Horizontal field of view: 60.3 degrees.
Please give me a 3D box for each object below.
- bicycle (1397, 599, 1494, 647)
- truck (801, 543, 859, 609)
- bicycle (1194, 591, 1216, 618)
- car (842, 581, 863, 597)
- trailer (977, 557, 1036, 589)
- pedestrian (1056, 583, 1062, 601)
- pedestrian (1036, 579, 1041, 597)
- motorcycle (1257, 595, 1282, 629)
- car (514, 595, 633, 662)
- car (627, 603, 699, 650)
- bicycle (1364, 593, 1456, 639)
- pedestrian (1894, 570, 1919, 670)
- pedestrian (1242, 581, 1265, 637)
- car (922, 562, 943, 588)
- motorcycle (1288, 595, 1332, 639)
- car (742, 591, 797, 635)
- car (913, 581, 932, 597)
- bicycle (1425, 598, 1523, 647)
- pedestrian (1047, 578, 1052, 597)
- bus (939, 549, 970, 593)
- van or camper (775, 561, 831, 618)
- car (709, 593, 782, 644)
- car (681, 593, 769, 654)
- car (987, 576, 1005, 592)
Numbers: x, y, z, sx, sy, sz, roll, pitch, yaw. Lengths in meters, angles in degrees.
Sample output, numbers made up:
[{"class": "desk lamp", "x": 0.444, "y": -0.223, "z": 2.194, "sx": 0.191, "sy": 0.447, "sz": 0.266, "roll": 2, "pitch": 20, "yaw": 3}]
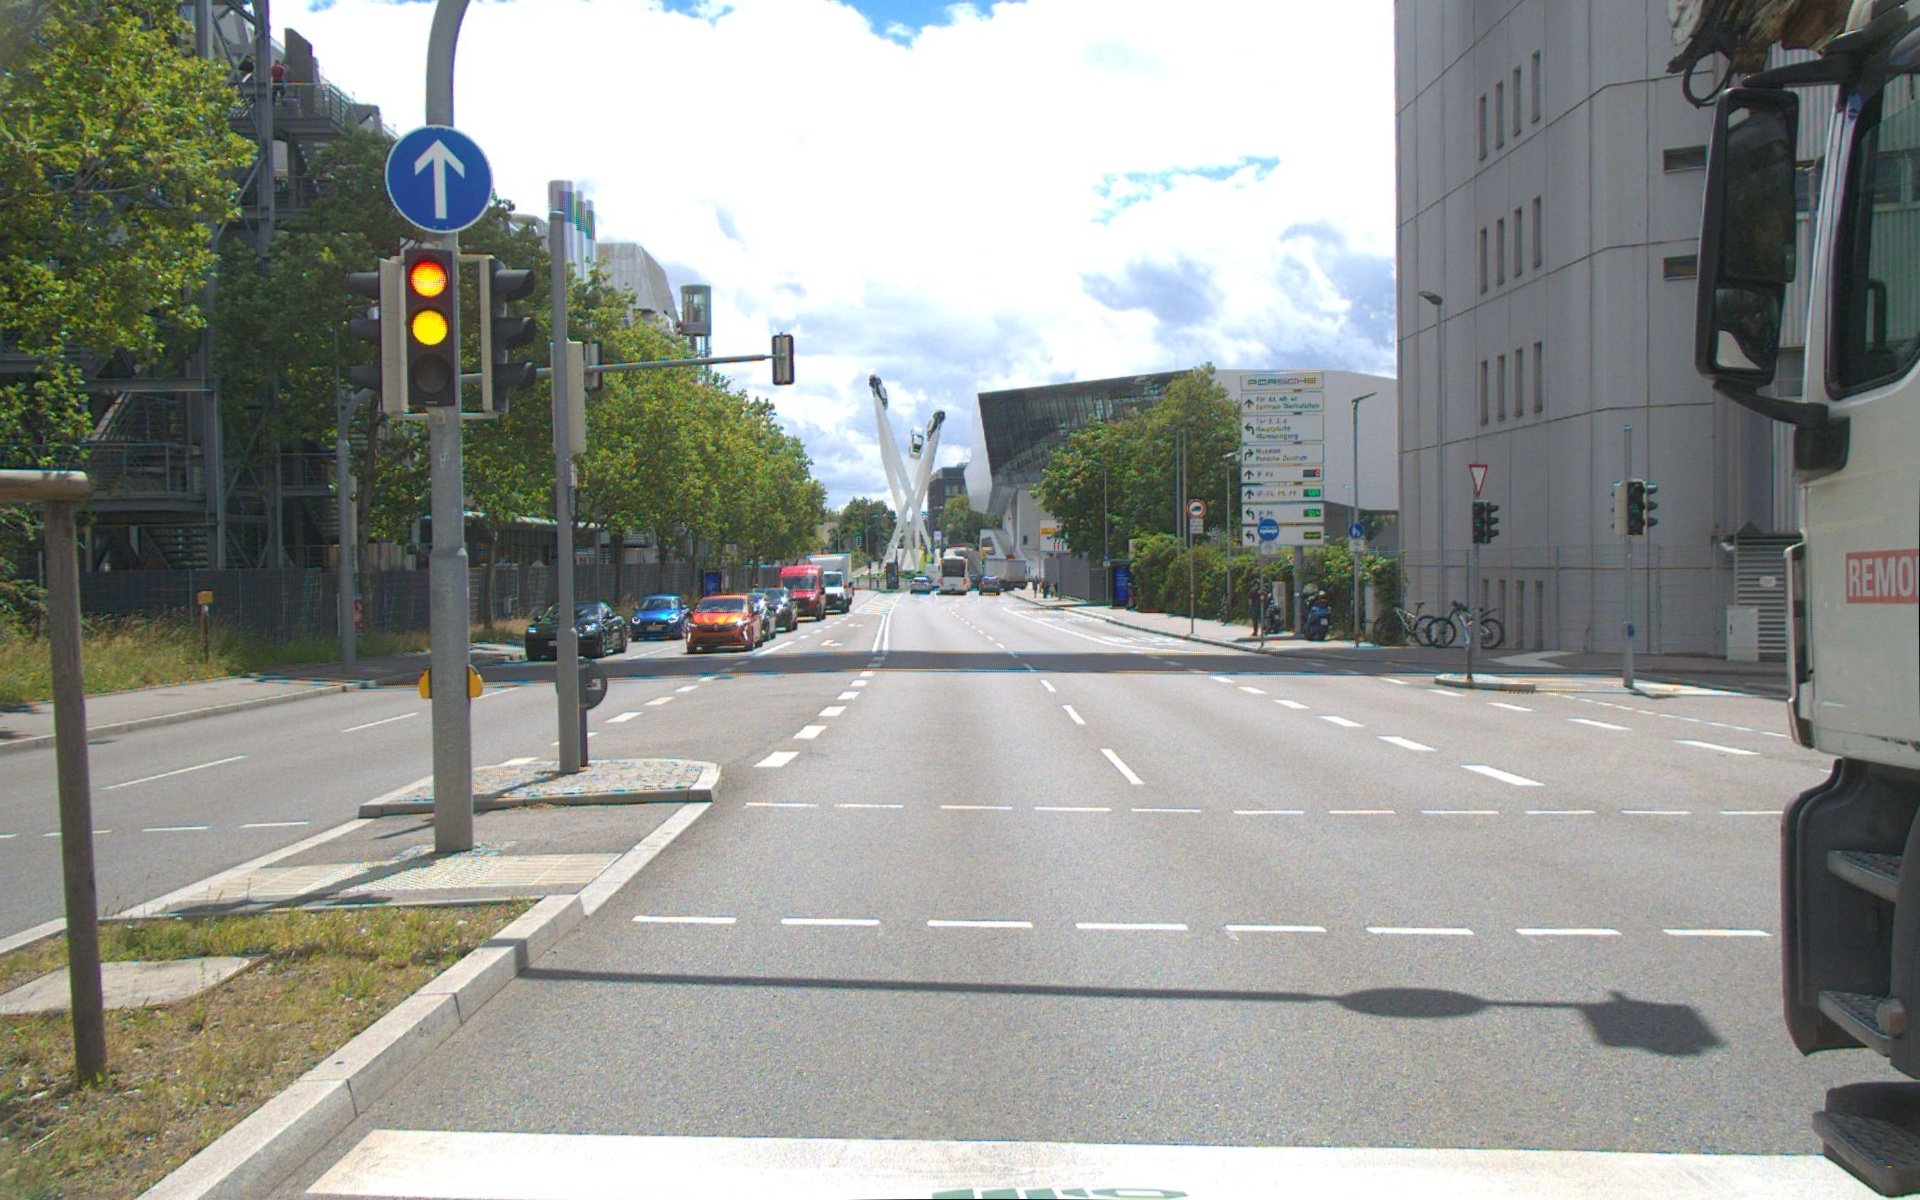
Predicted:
[{"class": "bicycle", "x": 11.638, "y": 0.536, "z": 39.696, "sx": 2.180, "sy": 1.105, "sz": 0.475, "roll": 1, "pitch": -1, "yaw": 35}, {"class": "truck", "x": -6.971, "y": -1.221, "z": 89.440, "sx": 2.538, "sy": 3.382, "sz": 7.078, "roll": 1, "pitch": 0, "yaw": 0}, {"class": "bicycle", "x": 9.671, "y": 0.163, "z": 65.398, "sx": 0.410, "sy": 1.040, "sz": 1.910, "roll": 1, "pitch": 0, "yaw": -5}, {"class": "car", "x": -9.374, "y": -0.980, "z": 144.579, "sx": 1.525, "sy": 1.295, "sz": 3.701, "roll": -2, "pitch": 0, "yaw": 0}, {"class": "trailer", "x": 4.901, "y": -2.752, "z": 172.278, "sx": 3.250, "sy": 3.047, "sz": 10.380, "roll": 1, "pitch": 0, "yaw": 18}, {"class": "pedestrian", "x": 7.933, "y": -0.610, "z": 132.685, "sx": 0.378, "sy": 1.446, "sz": 0.423, "roll": 1, "pitch": -1, "yaw": 0}, {"class": "pedestrian", "x": 6.308, "y": -0.952, "z": 132.783, "sx": 0.378, "sy": 1.446, "sz": 0.423, "roll": 1, "pitch": -1, "yaw": 0}, {"class": "motorcycle", "x": 9.741, "y": 0.378, "z": 52.138, "sx": 0.448, "sy": 1.040, "sz": 1.913, "roll": 1, "pitch": 0, "yaw": 1}, {"class": "car", "x": -9.872, "y": 0.695, "z": 42.617, "sx": 1.878, "sy": 1.514, "sz": 4.772, "roll": -2, "pitch": 0, "yaw": 0}, {"class": "car", "x": -10.014, "y": 0.876, "z": 55.985, "sx": 1.692, "sy": 1.406, "sz": 3.701, "roll": -2, "pitch": 0, "yaw": 0}, {"class": "bicycle", "x": 11.153, "y": 0.394, "z": 41.021, "sx": 2.180, "sy": 1.105, "sz": 0.475, "roll": 1, "pitch": -1, "yaw": 35}, {"class": "pedestrian", "x": 17.936, "y": 0.351, "z": 30.831, "sx": 0.694, "sy": 1.825, "sz": 0.643, "roll": -3, "pitch": 1, "yaw": 11}, {"class": "pedestrian", "x": 8.863, "y": 0.267, "z": 49.941, "sx": 0.523, "sy": 1.669, "sz": 0.657, "roll": 1, "pitch": -1, "yaw": -6}, {"class": "car", "x": -2.832, "y": -2.589, "z": 171.702, "sx": 1.805, "sy": 2.669, "sz": 4.002, "roll": 1, "pitch": 0, "yaw": 4}, {"class": "motorcycle", "x": 9.548, "y": 0.459, "z": 45.150, "sx": 0.410, "sy": 1.186, "sz": 1.951, "roll": 1, "pitch": 0, "yaw": -11}, {"class": "car", "x": -6.916, "y": 0.463, "z": 60.429, "sx": 1.525, "sy": 1.473, "sz": 3.772, "roll": -2, "pitch": 0, "yaw": 0}, {"class": "car", "x": -3.372, "y": -1.001, "z": 148.696, "sx": 1.525, "sy": 1.295, "sz": 3.701, "roll": -2, "pitch": 0, "yaw": 1}, {"class": "bicycle", "x": 12.026, "y": 0.527, "z": 38.746, "sx": 2.149, "sy": 1.105, "sz": 0.475, "roll": 1, "pitch": -1, "yaw": 35}, {"class": "pedestrian", "x": 6.960, "y": -0.959, "z": 128.824, "sx": 0.378, "sy": 1.446, "sz": 0.423, "roll": 1, "pitch": -1, "yaw": 0}, {"class": "bus", "x": -0.495, "y": -2.579, "z": 150.031, "sx": 2.730, "sy": 3.750, "sz": 6.942, "roll": 1, "pitch": 0, "yaw": 0}, {"class": "van or camper", "x": -7.157, "y": -0.470, "z": 75.777, "sx": 2.005, "sy": 2.509, "sz": 5.594, "roll": 0, "pitch": 0, "yaw": 0}, {"class": "car", "x": -6.627, "y": 0.550, "z": 51.493, "sx": 1.733, "sy": 1.445, "sz": 3.701, "roll": -2, "pitch": 0, "yaw": 0}, {"class": "car", "x": -6.156, "y": 0.594, "z": 43.628, "sx": 1.733, "sy": 1.445, "sz": 3.701, "roll": -2, "pitch": 0, "yaw": 0}, {"class": "car", "x": 3.165, "y": -1.414, "z": 146.350, "sx": 1.525, "sy": 1.295, "sz": 3.701, "roll": -2, "pitch": 0, "yaw": 1}]
